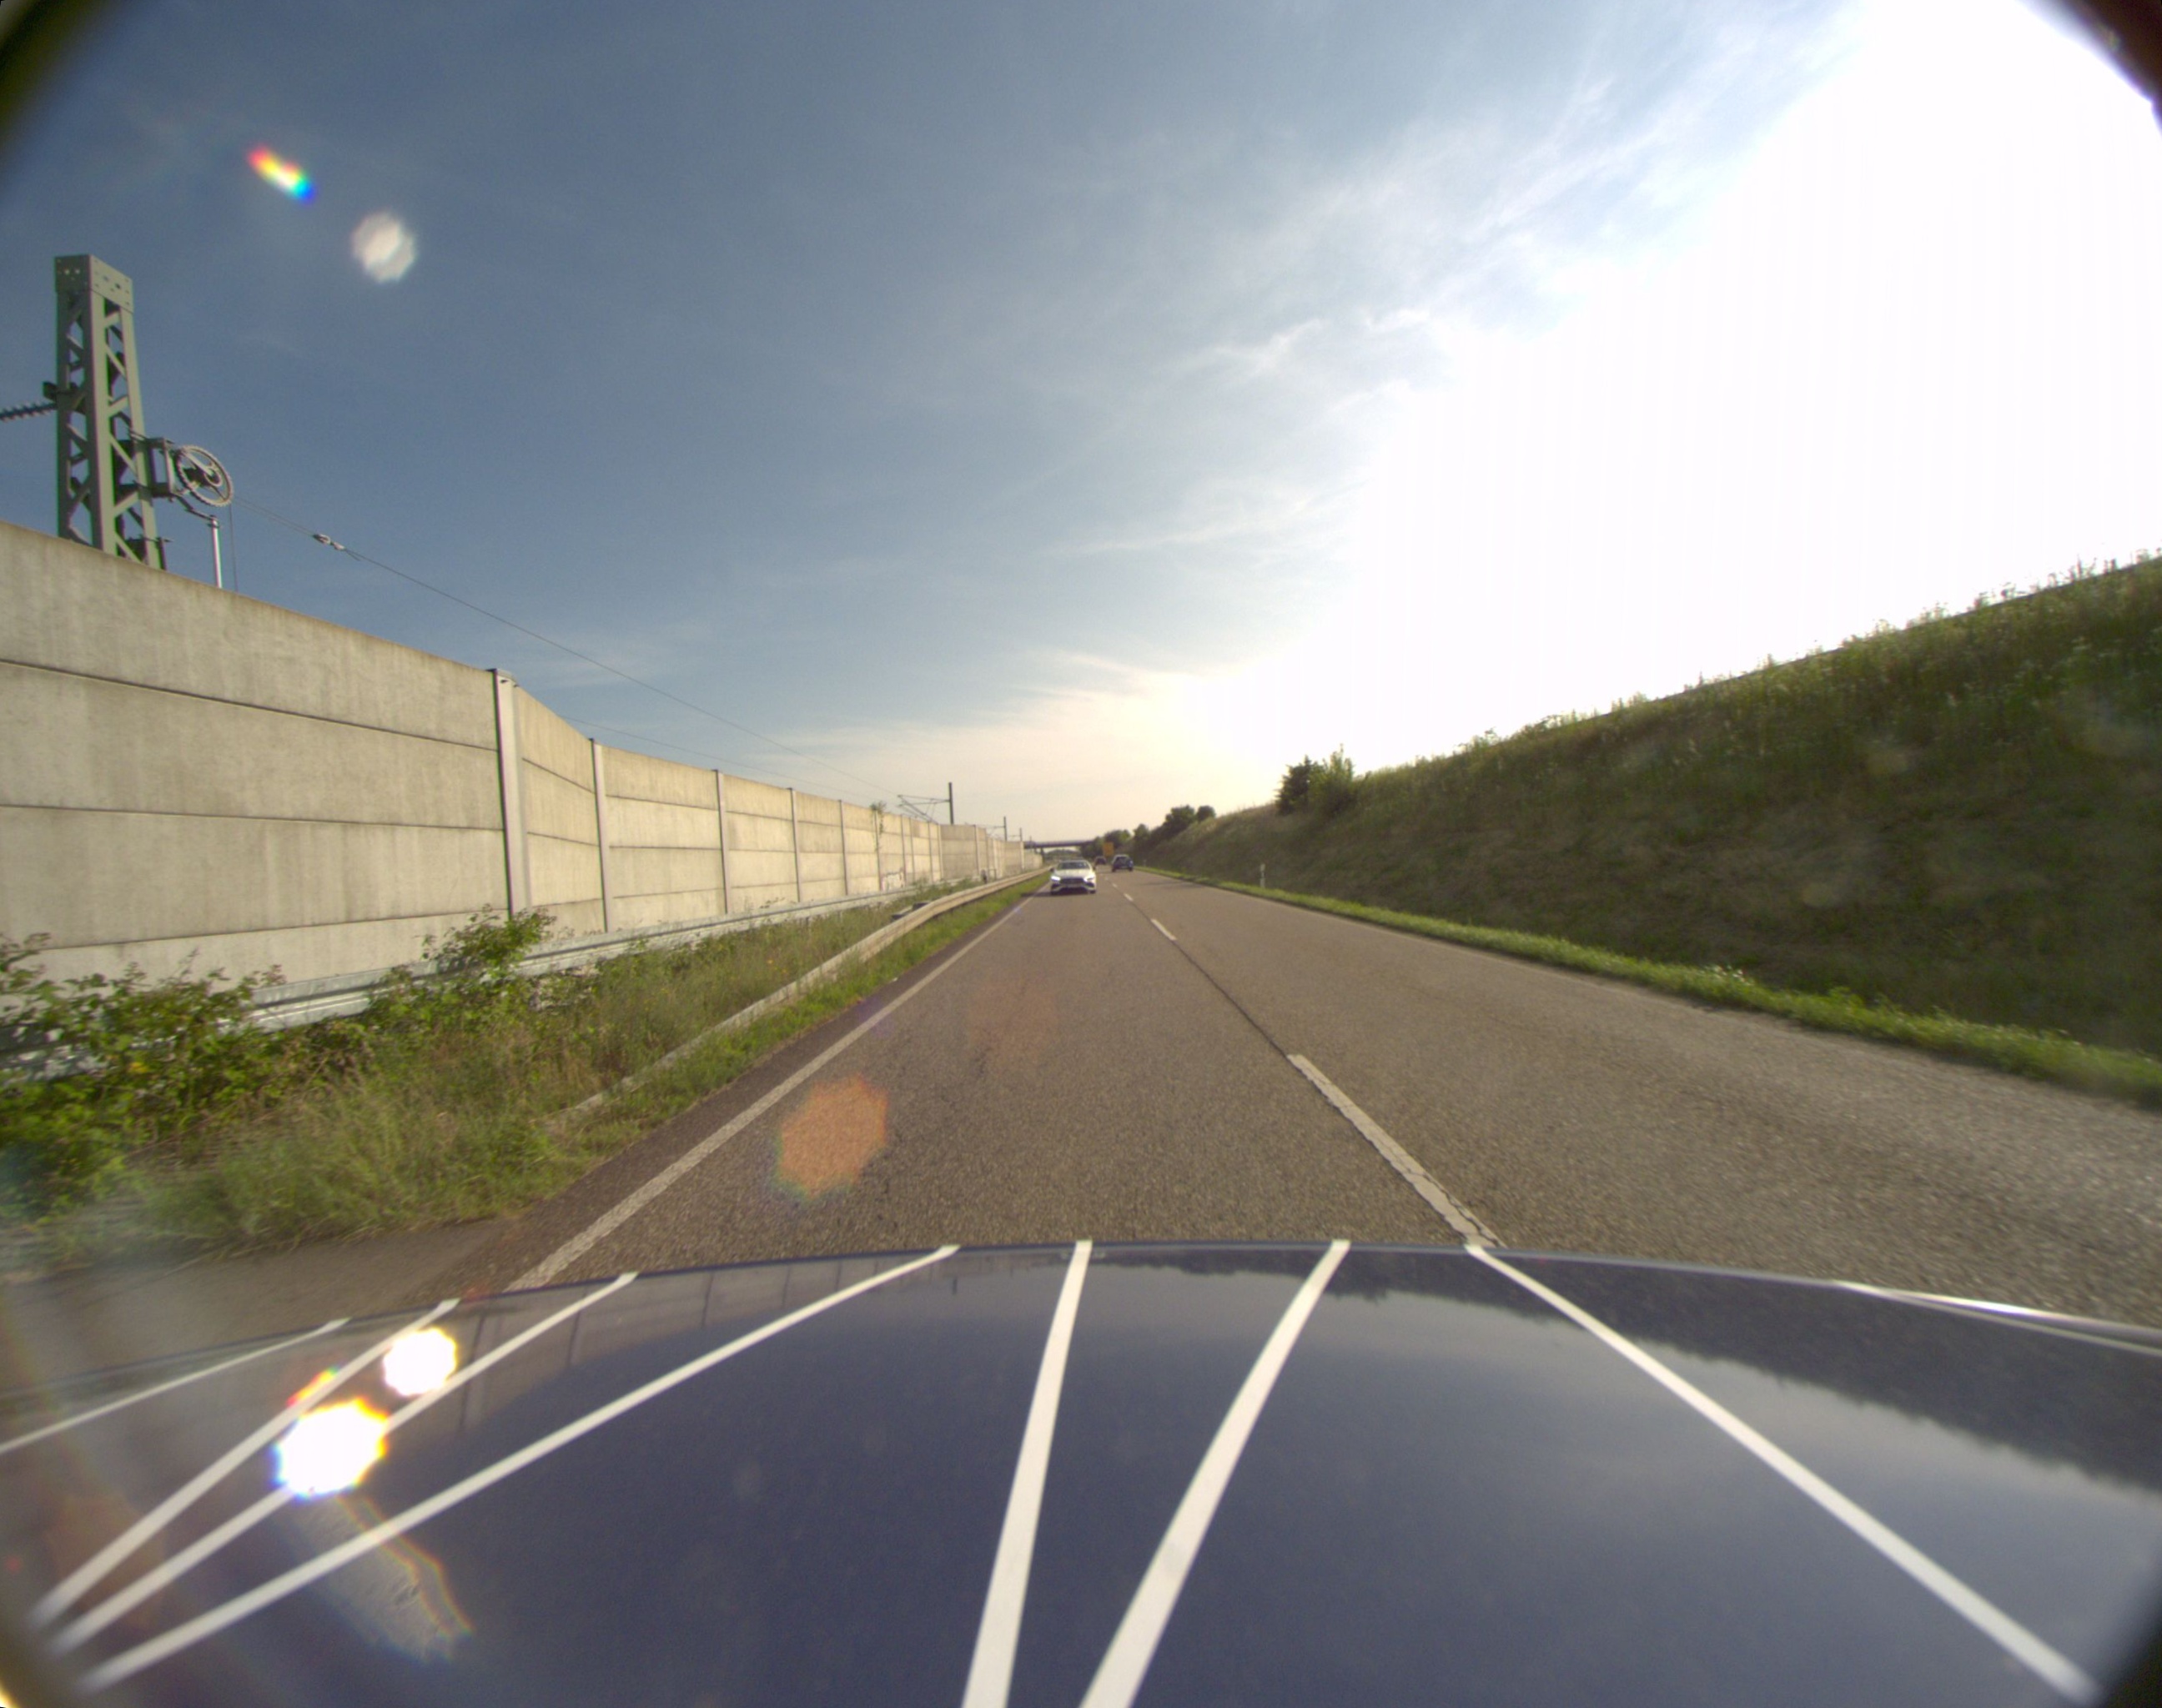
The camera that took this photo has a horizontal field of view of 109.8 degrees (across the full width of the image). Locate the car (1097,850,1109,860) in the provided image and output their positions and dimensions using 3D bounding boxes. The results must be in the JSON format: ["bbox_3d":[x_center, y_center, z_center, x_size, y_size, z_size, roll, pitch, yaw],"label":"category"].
[{"bbox_3d":[3.601,0.139,122.360,1.721,1.445,4.018,-3,0,0],"label":"car"}]

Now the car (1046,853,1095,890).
[{"bbox_3d":[-0.375,0.702,32.897,1.930,1.399,4.974,-3,0,1],"label":"car"}]

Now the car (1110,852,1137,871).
[{"bbox_3d":[3.881,0.640,70.819,2.146,1.564,5.339,-3,0,0],"label":"car"}]

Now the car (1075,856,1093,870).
[{"bbox_3d":[0.363,1.021,85.660,1.930,1.399,4.973,-2,1,0],"label":"car"}]
